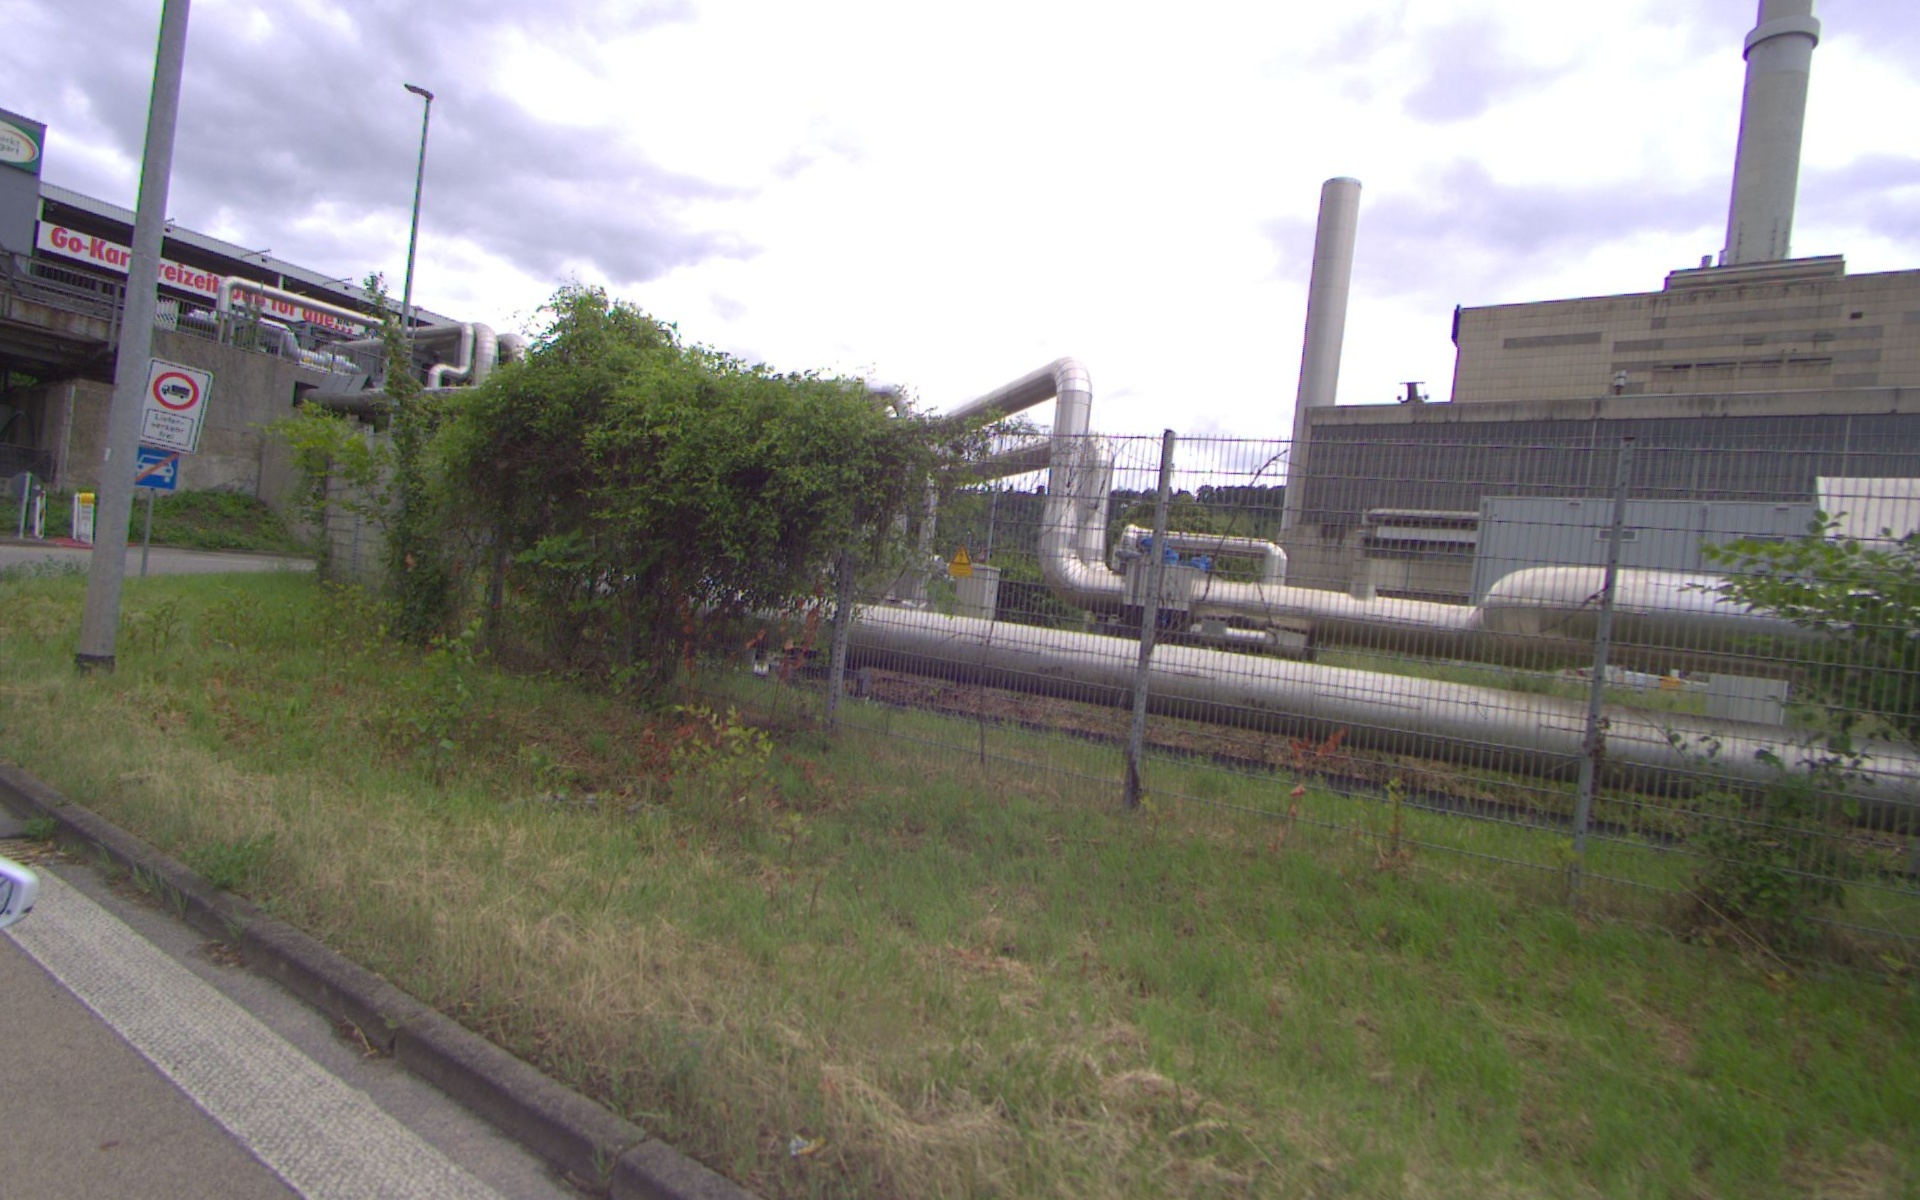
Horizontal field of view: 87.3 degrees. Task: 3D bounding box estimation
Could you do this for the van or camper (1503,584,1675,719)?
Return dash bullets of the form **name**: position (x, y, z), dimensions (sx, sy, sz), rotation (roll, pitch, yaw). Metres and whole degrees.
- **van or camper**: position (15.015, 1.304, 23.797), dimensions (2.538, 2.579, 6.102), rotation (7, -1, 39)
